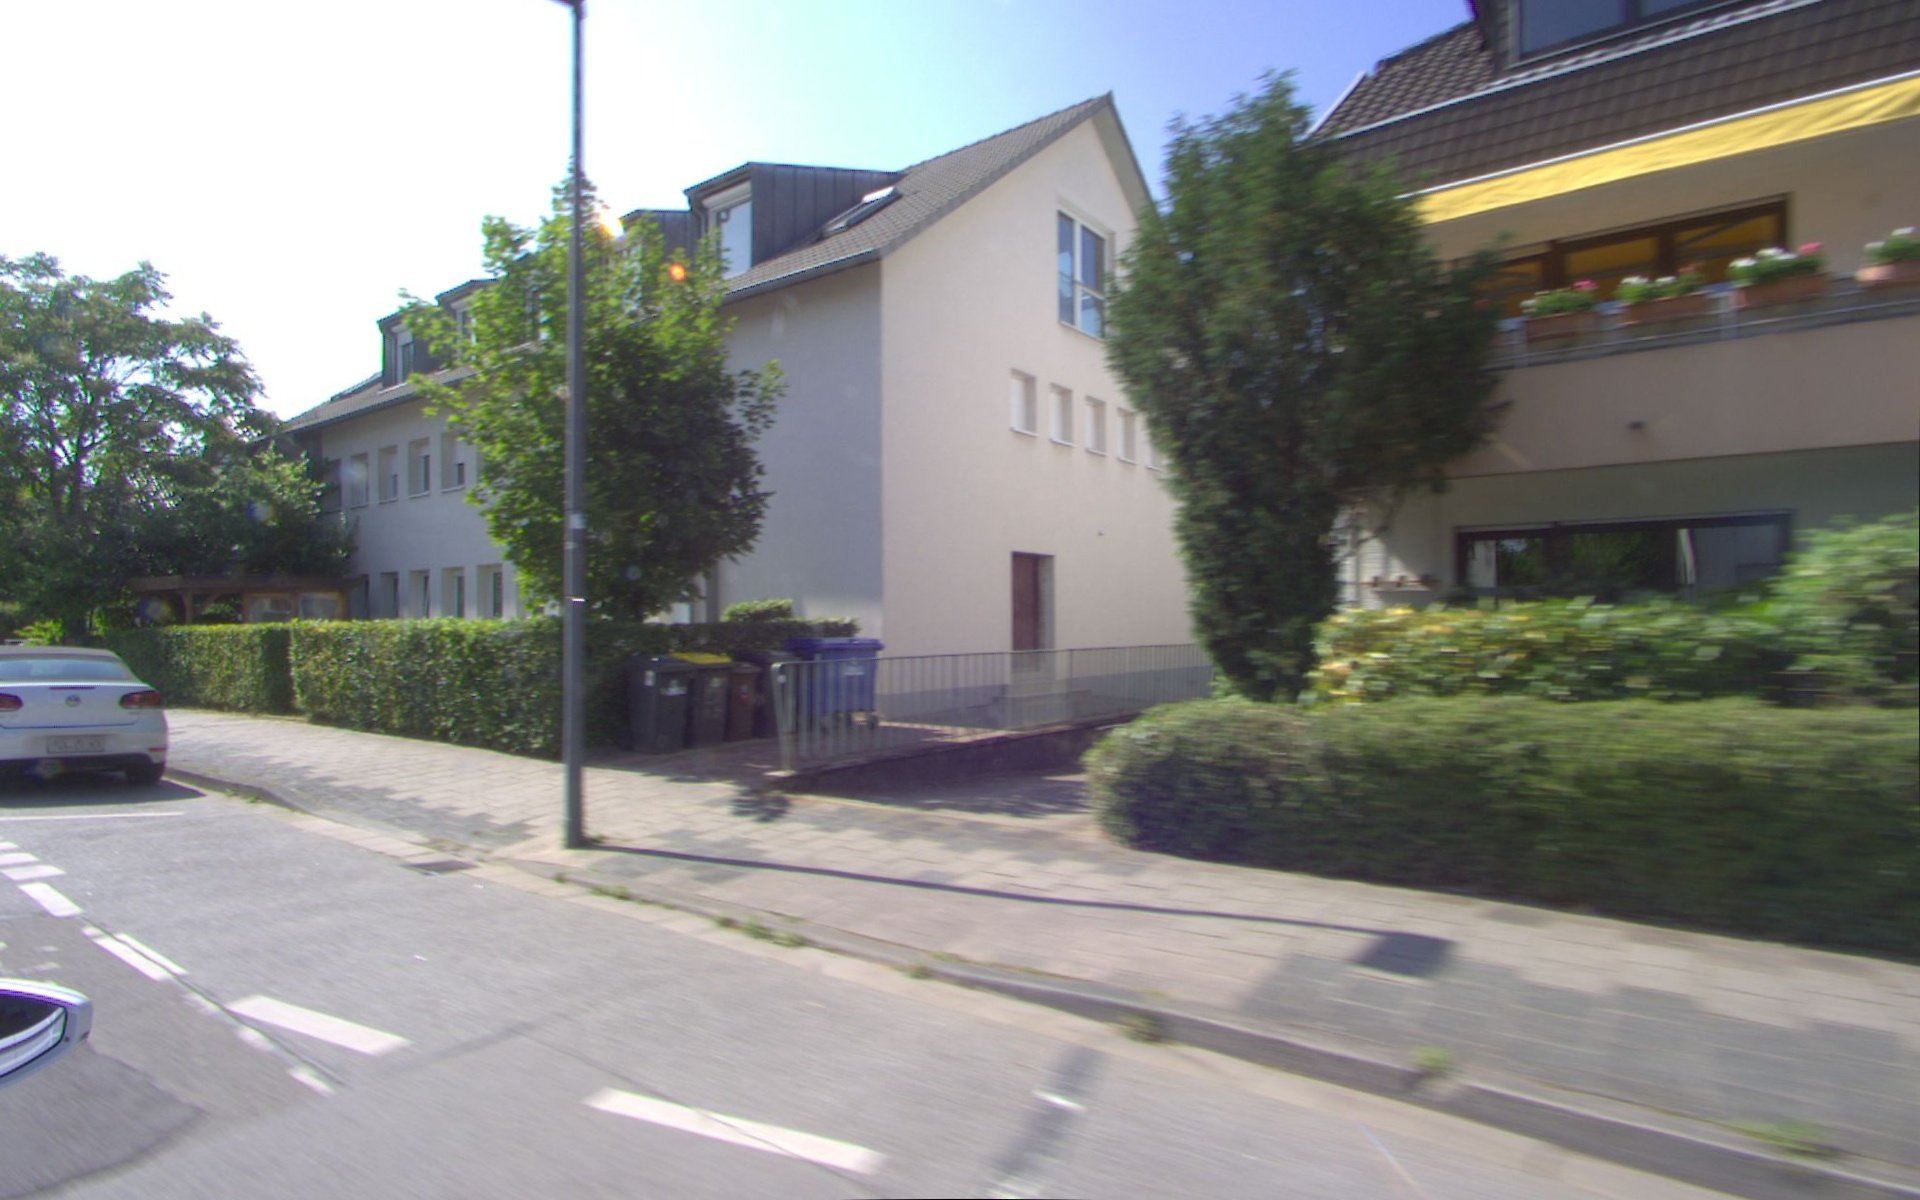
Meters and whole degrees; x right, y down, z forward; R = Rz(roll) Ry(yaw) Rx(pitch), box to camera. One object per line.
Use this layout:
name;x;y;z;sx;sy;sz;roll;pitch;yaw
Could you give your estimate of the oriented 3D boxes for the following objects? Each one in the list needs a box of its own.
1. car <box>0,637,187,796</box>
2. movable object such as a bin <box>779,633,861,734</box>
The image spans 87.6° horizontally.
car;-9.957;1.109;10.594;4.021;1.419;1.736;-1;-4;37
movable object such as a bin;-1.842;1.076;13.197;0.783;1.260;0.745;0;0;33
